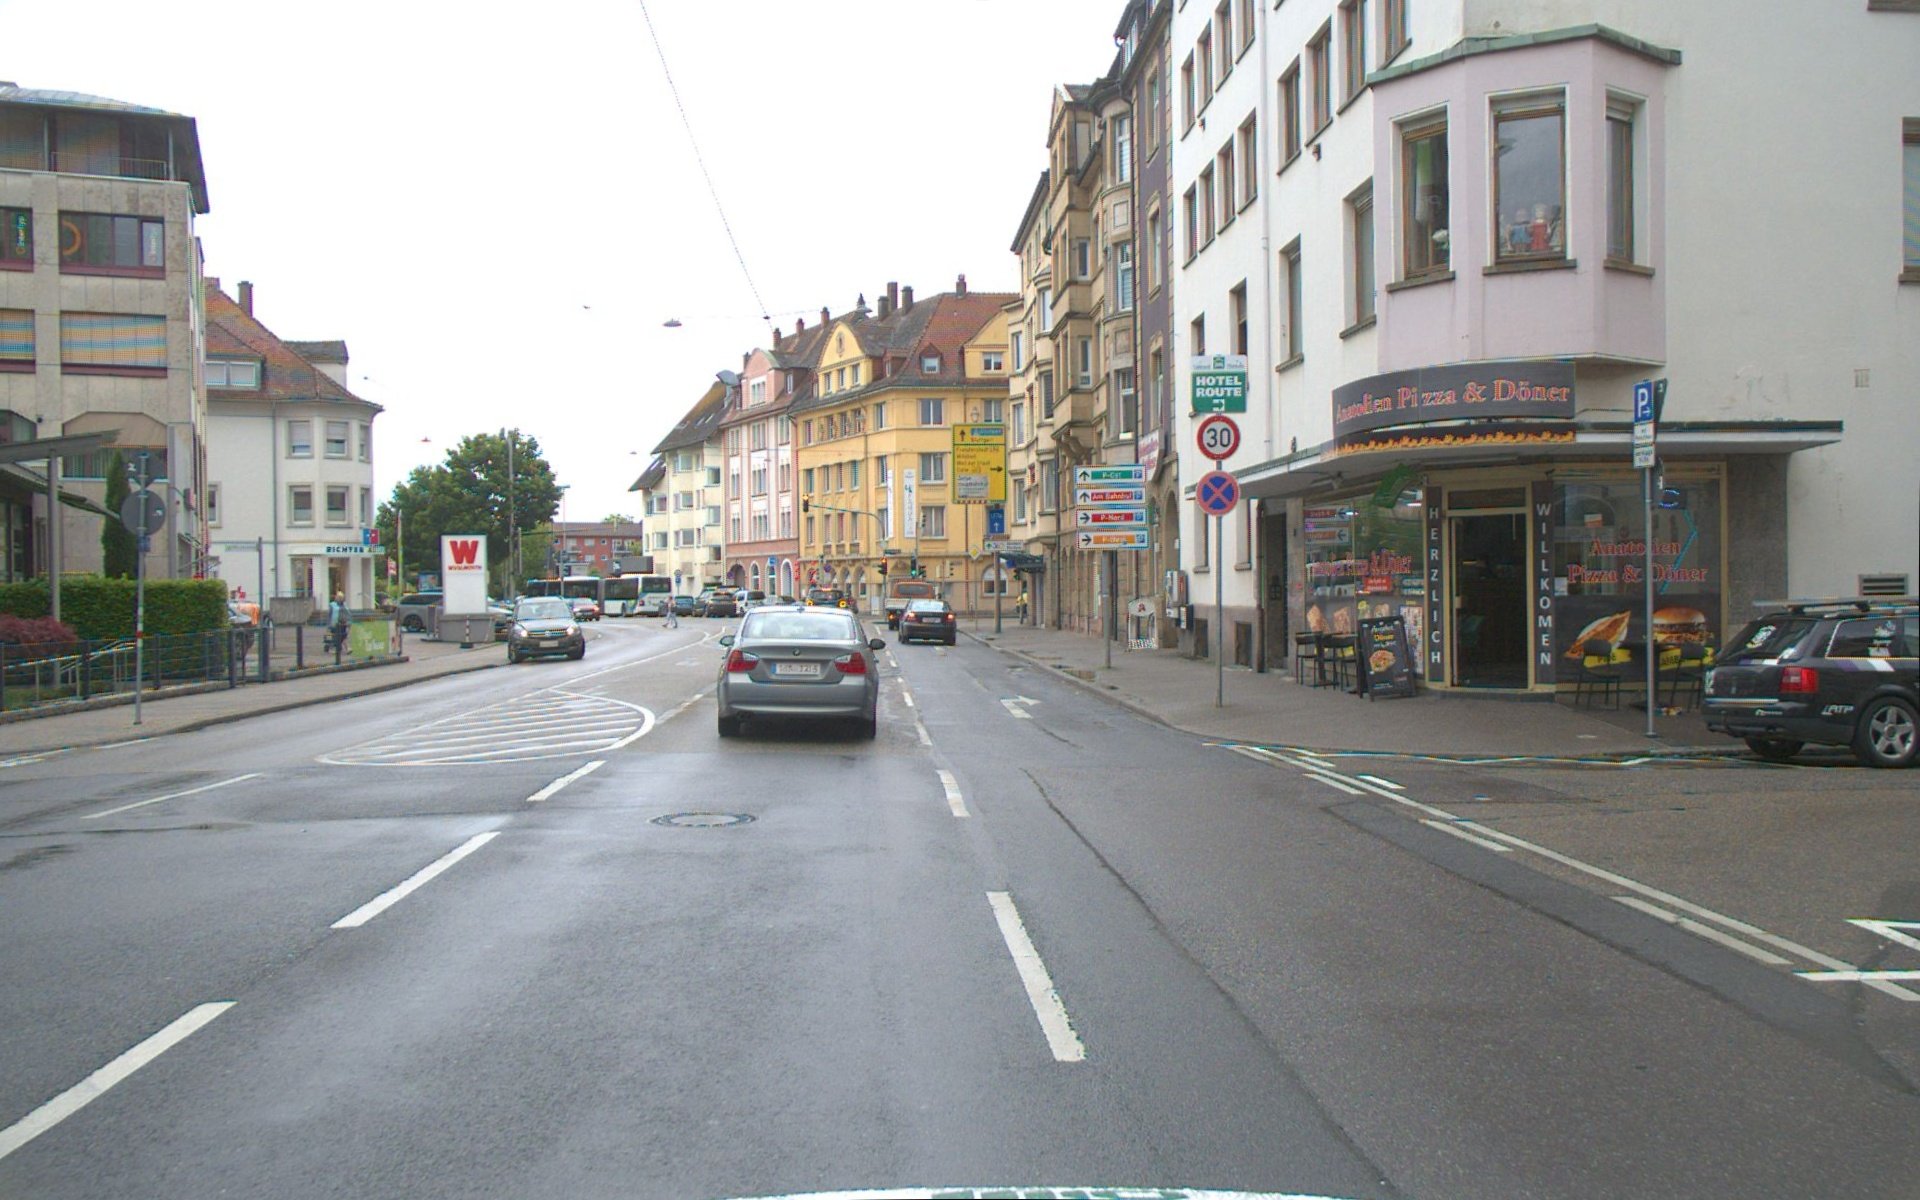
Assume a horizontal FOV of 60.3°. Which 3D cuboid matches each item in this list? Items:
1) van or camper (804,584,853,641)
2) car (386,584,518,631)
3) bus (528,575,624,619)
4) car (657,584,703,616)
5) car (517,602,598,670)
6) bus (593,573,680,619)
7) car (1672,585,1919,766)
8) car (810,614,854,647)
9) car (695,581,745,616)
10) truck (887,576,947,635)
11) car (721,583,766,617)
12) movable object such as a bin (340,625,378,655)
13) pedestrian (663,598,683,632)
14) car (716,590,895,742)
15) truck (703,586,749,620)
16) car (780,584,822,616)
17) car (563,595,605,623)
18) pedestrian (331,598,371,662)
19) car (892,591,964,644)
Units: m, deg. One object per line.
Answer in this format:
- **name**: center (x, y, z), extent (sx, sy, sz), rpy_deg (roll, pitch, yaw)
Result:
- **van or camper**: center (-5.300, 0.470, 66.242), extent (1.819, 2.184, 4.137), rpy_deg (0, 0, -6)
- **car**: center (-18.696, 0.285, 61.028), extent (4.363, 1.553, 1.882), rpy_deg (2, 0, -9)
- **bus**: center (-28.891, -0.235, 124.230), extent (2.896, 3.159, 8.726), rpy_deg (-1, 0, -44)
- **car**: center (-18.214, 0.017, 107.364), extent (1.968, 2.049, 3.968), rpy_deg (-1, 0, -25)
- **car**: center (-10.709, 0.913, 43.805), extent (1.917, 1.688, 4.039), rpy_deg (-1, 0, -16)
- **bus**: center (-23.051, -0.284, 117.321), extent (2.882, 3.159, 9.037), rpy_deg (-1, 0, -33)
- **car**: center (9.361, 0.701, 16.237), extent (4.032, 1.635, 1.801), rpy_deg (0, -2, -10)
- **car**: center (-5.693, 1.323, 73.095), extent (1.768, 1.430, 4.677), rpy_deg (0, -1, -7)
- **car**: center (-14.669, -0.085, 100.863), extent (1.968, 2.049, 3.969), rpy_deg (-1, 0, -24)
- **truck**: center (-1.786, 0.202, 66.819), extent (2.181, 2.289, 5.058), rpy_deg (0, 0, -4)
- **car**: center (-15.018, -0.023, 114.759), extent (1.742, 2.218, 3.962), rpy_deg (2, -1, -29)
- **movable object such as a bin**: center (-16.607, 1.088, 45.672), extent (0.741, 0.802, 0.729), rpy_deg (0, 0, 42)
- **pedestrian**: center (-13.196, 0.703, 76.003), extent (0.750, 1.556, 0.504), rpy_deg (2, -1, -25)
- **car**: center (-1.748, 0.709, 19.015), extent (1.764, 1.490, 4.366), rpy_deg (2, -1, -5)
- **truck**: center (-17.062, 0.218, 120.496), extent (2.004, 2.431, 4.196), rpy_deg (1, 0, -29)
- **car**: center (-9.510, -0.011, 98.903), extent (1.960, 1.847, 3.986), rpy_deg (-1, -1, -14)
- **car**: center (-23.683, 0.574, 104.107), extent (1.821, 1.713, 3.968), rpy_deg (-1, 0, -25)
- **pedestrian**: center (-16.566, 0.808, 45.023), extent (0.741, 1.715, 0.743), rpy_deg (-1, 0, 42)
- **car**: center (-1.055, 0.550, 51.852), extent (1.766, 1.590, 3.992), rpy_deg (0, -1, -9)
